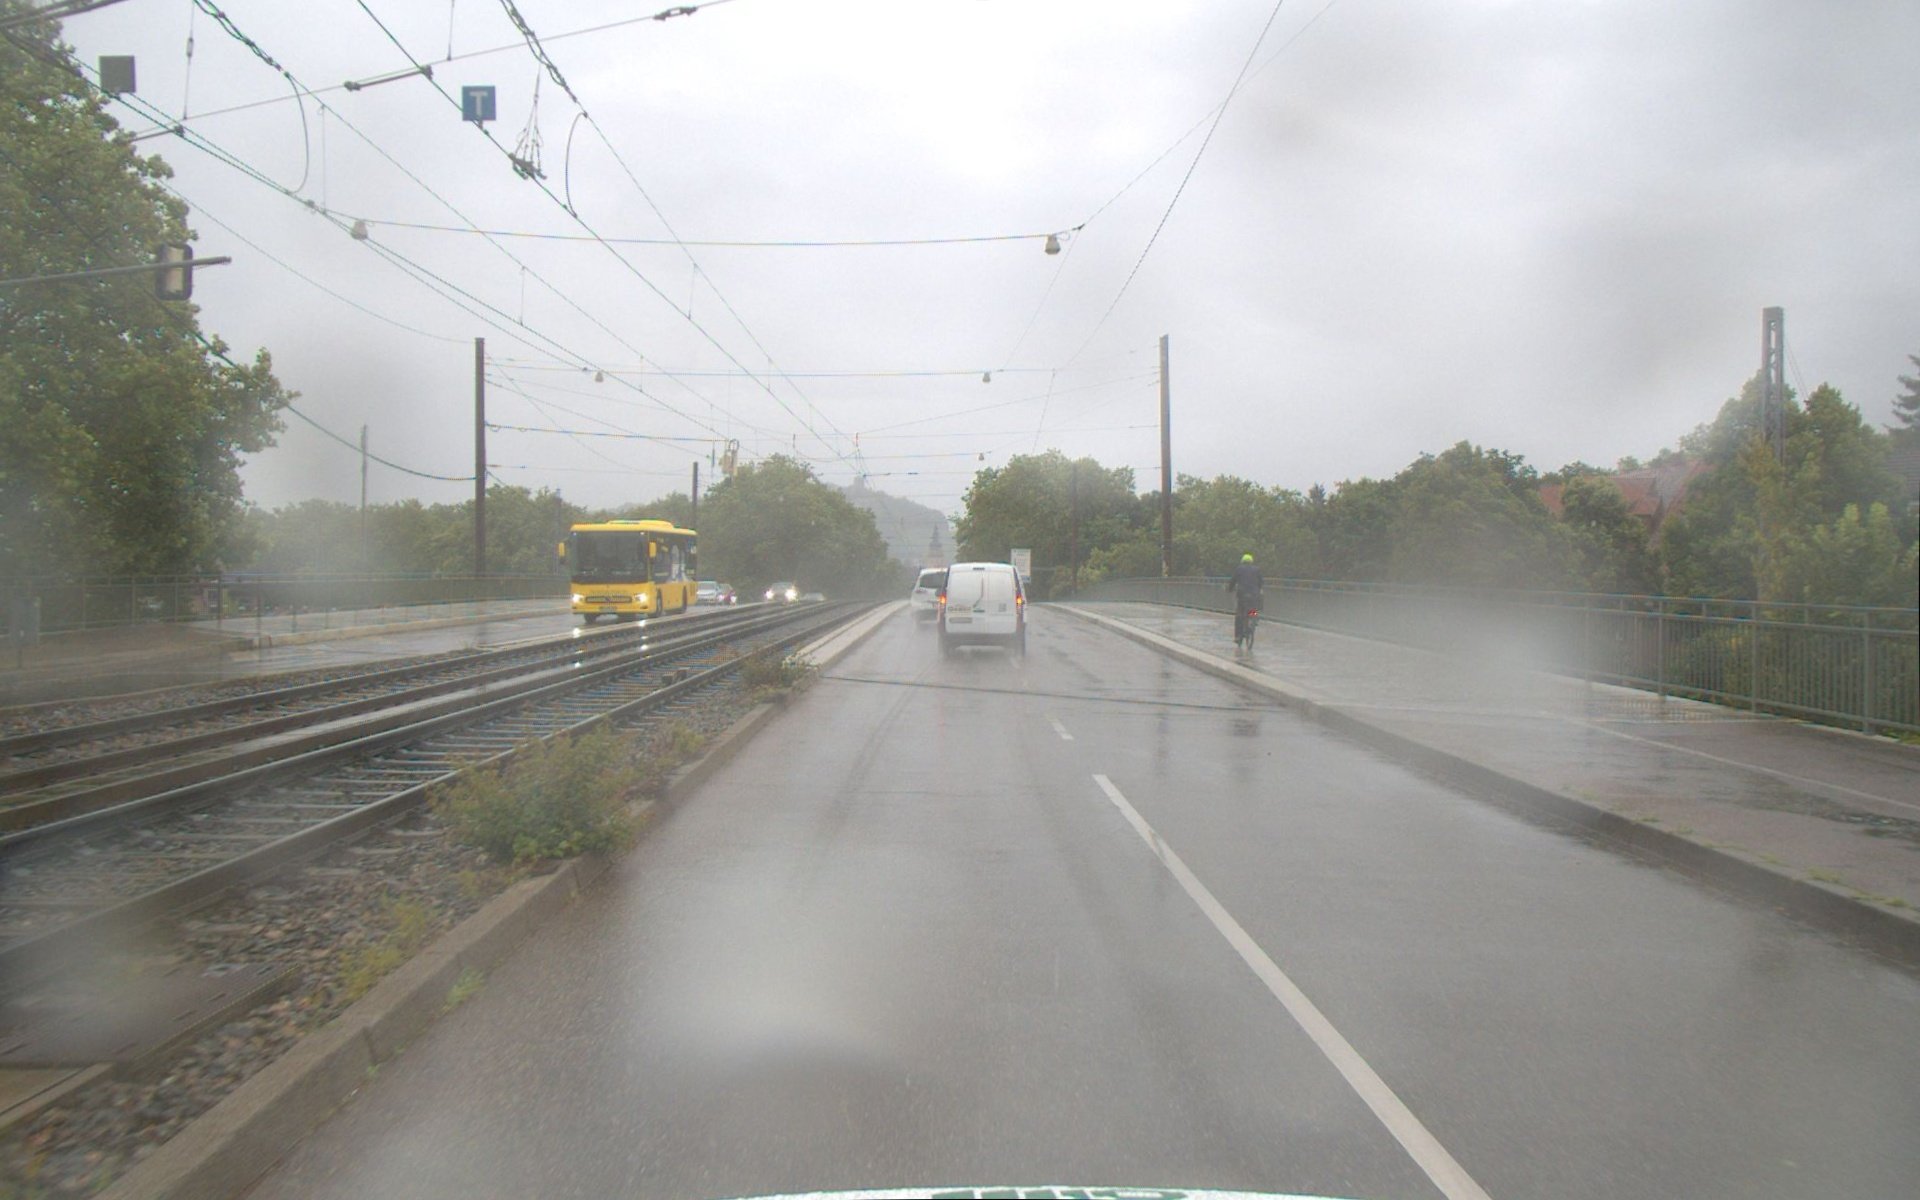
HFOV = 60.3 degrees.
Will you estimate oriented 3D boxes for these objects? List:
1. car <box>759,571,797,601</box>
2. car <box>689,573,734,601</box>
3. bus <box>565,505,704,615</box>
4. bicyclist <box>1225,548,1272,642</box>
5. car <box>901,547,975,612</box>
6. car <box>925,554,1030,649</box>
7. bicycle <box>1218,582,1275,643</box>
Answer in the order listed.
[{"bbox_3d":[-11.760,-0.890,107.208,1.953,1.747,4.940,-2,-1,0],"label":"car"},{"bbox_3d":[-14.462,-0.730,96.473,1.953,1.481,4.619,-2,-1,-1],"label":"car"},{"bbox_3d":[-11.129,-1.432,57.772,2.653,3.399,10.994,-2,2,0],"label":"bus"},{"bbox_3d":[5.637,-0.096,32.397,0.710,1.794,0.949,2,-1,0],"label":"bicyclist"},{"bbox_3d":[-0.603,-0.554,48.528,1.952,1.747,4.001,2,-1,2],"label":"car"},{"bbox_3d":[0.398,0.056,33.510,1.952,1.756,4.001,2,-1,2],"label":"car"},{"bbox_3d":[5.610,0.235,32.503,0.708,1.148,2.168,2,0,0],"label":"bicycle"}]
